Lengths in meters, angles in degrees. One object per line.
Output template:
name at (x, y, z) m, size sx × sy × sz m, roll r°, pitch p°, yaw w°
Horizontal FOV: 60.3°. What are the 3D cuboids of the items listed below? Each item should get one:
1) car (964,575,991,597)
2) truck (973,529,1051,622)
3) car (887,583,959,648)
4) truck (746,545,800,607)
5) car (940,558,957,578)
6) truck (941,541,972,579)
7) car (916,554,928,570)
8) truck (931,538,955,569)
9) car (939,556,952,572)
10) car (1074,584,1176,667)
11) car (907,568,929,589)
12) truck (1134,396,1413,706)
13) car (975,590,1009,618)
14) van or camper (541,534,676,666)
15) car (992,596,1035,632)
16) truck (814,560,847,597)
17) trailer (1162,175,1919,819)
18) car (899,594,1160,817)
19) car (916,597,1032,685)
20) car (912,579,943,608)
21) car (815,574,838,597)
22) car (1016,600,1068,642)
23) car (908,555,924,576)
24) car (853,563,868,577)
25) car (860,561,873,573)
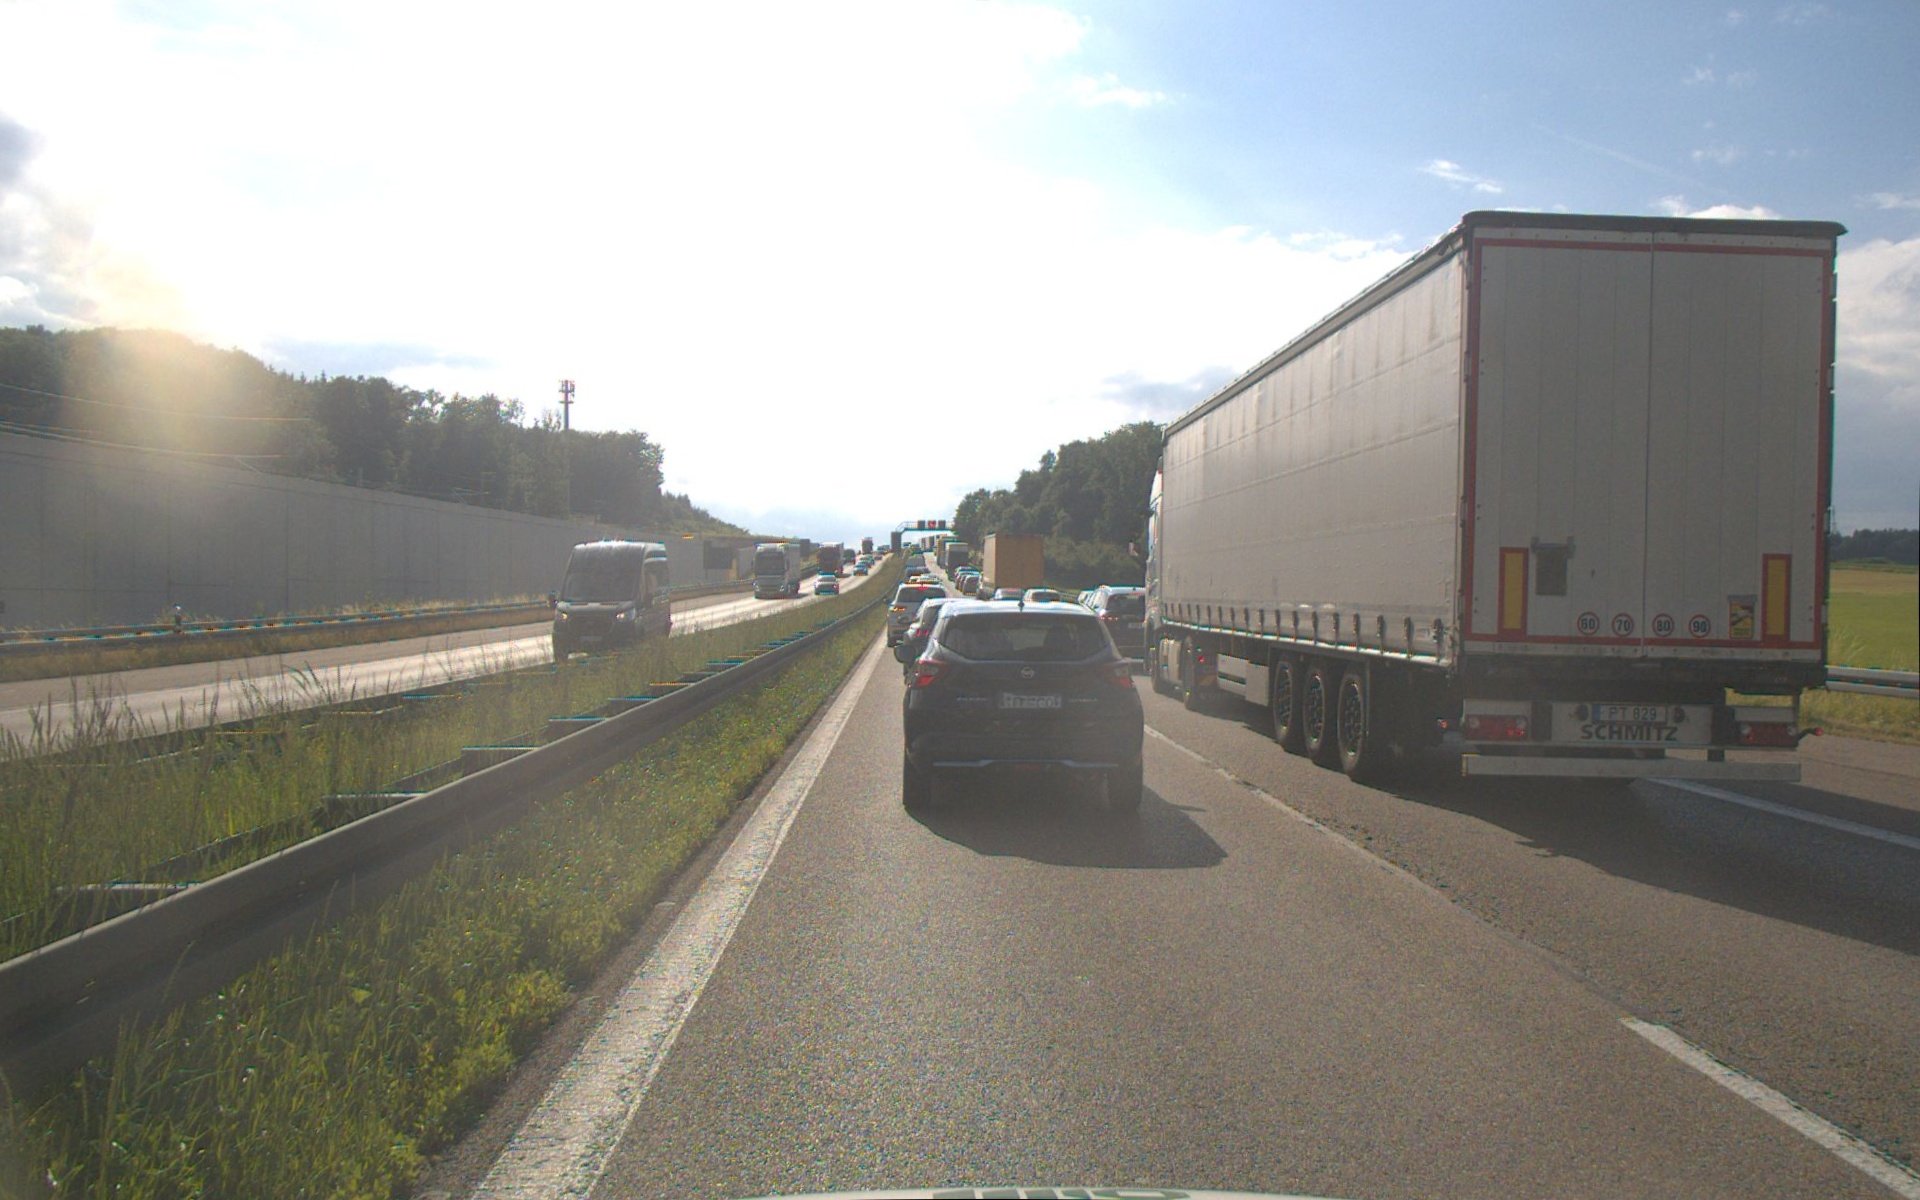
car at (1.405, -1.130, 133.115) m, size 1.837 × 1.673 × 4.229 m, roll 0°, pitch 1°, yaw -5°
truck at (2.699, -1.181, 90.705) m, size 3.231 × 4.657 × 12.433 m, roll 1°, pitch -1°, yaw -3°
car at (-1.002, 0.394, 44.691) m, size 1.835 × 1.673 × 4.231 m, roll 0°, pitch 0°, yaw -1°
truck at (-14.770, -1.869, 131.583) m, size 3.230 × 4.657 × 12.436 m, roll 0°, pitch 0°, yaw -2°
car at (-1.352, -3.665, 189.799) m, size 1.835 × 2.196 × 5.211 m, roll 0°, pitch 3°, yaw -2°
truck at (-0.505, -5.201, 215.743) m, size 3.395 × 4.657 × 12.435 m, roll 1°, pitch 1°, yaw -3°
car at (-5.549, -5.505, 241.041) m, size 1.835 × 2.196 × 5.211 m, roll 0°, pitch 3°, yaw -2°
truck at (-2.733, -7.280, 261.469) m, size 3.395 × 4.657 × 12.435 m, roll 1°, pitch 1°, yaw -3°
car at (-2.115, -5.328, 244.913) m, size 1.835 × 2.196 × 5.211 m, roll 0°, pitch 3°, yaw -2°
car at (3.397, 0.511, 34.735) m, size 1.663 × 1.639 × 4.436 m, roll 0°, pitch 0°, yaw 0°
car at (-3.589, -1.859, 141.246) m, size 1.836 × 1.673 × 4.230 m, roll 0°, pitch 1°, yaw -3°
truck at (4.460, -0.615, 24.627) m, size 3.070 × 4.086 × 5.162 m, roll 1°, pitch -1°, yaw -1°
car at (1.966, 0.210, 102.090) m, size 1.836 × 1.673 × 4.230 m, roll 0°, pitch 0°, yaw -2°
van or camper at (-8.226, 0.036, 39.298) m, size 2.048 × 2.869 × 5.893 m, roll 1°, pitch -1°, yaw -2°
car at (2.504, 0.651, 78.718) m, size 1.835 × 1.673 × 4.231 m, roll 0°, pitch 0°, yaw -1°
truck at (-16.401, -2.690, 210.337) m, size 3.229 × 4.634 × 12.441 m, roll 0°, pitch 0°, yaw 0°
trailer at (4.584, -0.540, 17.276) m, size 3.067 × 4.081 × 13.362 m, roll 1°, pitch -1°, yaw -1°
car at (0.416, 0.702, 13.090) m, size 1.737 × 1.476 × 4.231 m, roll 0°, pitch 0°, yaw -1°
car at (0.175, 0.652, 28.155) m, size 1.835 × 1.381 × 4.231 m, roll 0°, pitch 0°, yaw -1°
car at (-1.995, -0.414, 101.871) m, size 1.835 × 1.673 × 4.231 m, roll 0°, pitch 1°, yaw -1°
car at (-10.883, -1.164, 135.070) m, size 1.709 × 1.735 × 4.229 m, roll 1°, pitch -1°, yaw -3°
car at (3.336, 0.844, 67.759) m, size 1.835 × 1.673 × 4.231 m, roll 0°, pitch 0°, yaw -1°
car at (-4.967, -3.866, 185.763) m, size 1.835 × 2.196 × 5.211 m, roll 0°, pitch 3°, yaw -2°
car at (-12.750, -3.838, 211.179) m, size 1.708 × 1.735 × 4.231 m, roll 1°, pitch 1°, yaw -1°
car at (-14.141, -4.946, 249.488) m, size 1.708 × 1.735 × 4.232 m, roll 1°, pitch 2°, yaw -1°
